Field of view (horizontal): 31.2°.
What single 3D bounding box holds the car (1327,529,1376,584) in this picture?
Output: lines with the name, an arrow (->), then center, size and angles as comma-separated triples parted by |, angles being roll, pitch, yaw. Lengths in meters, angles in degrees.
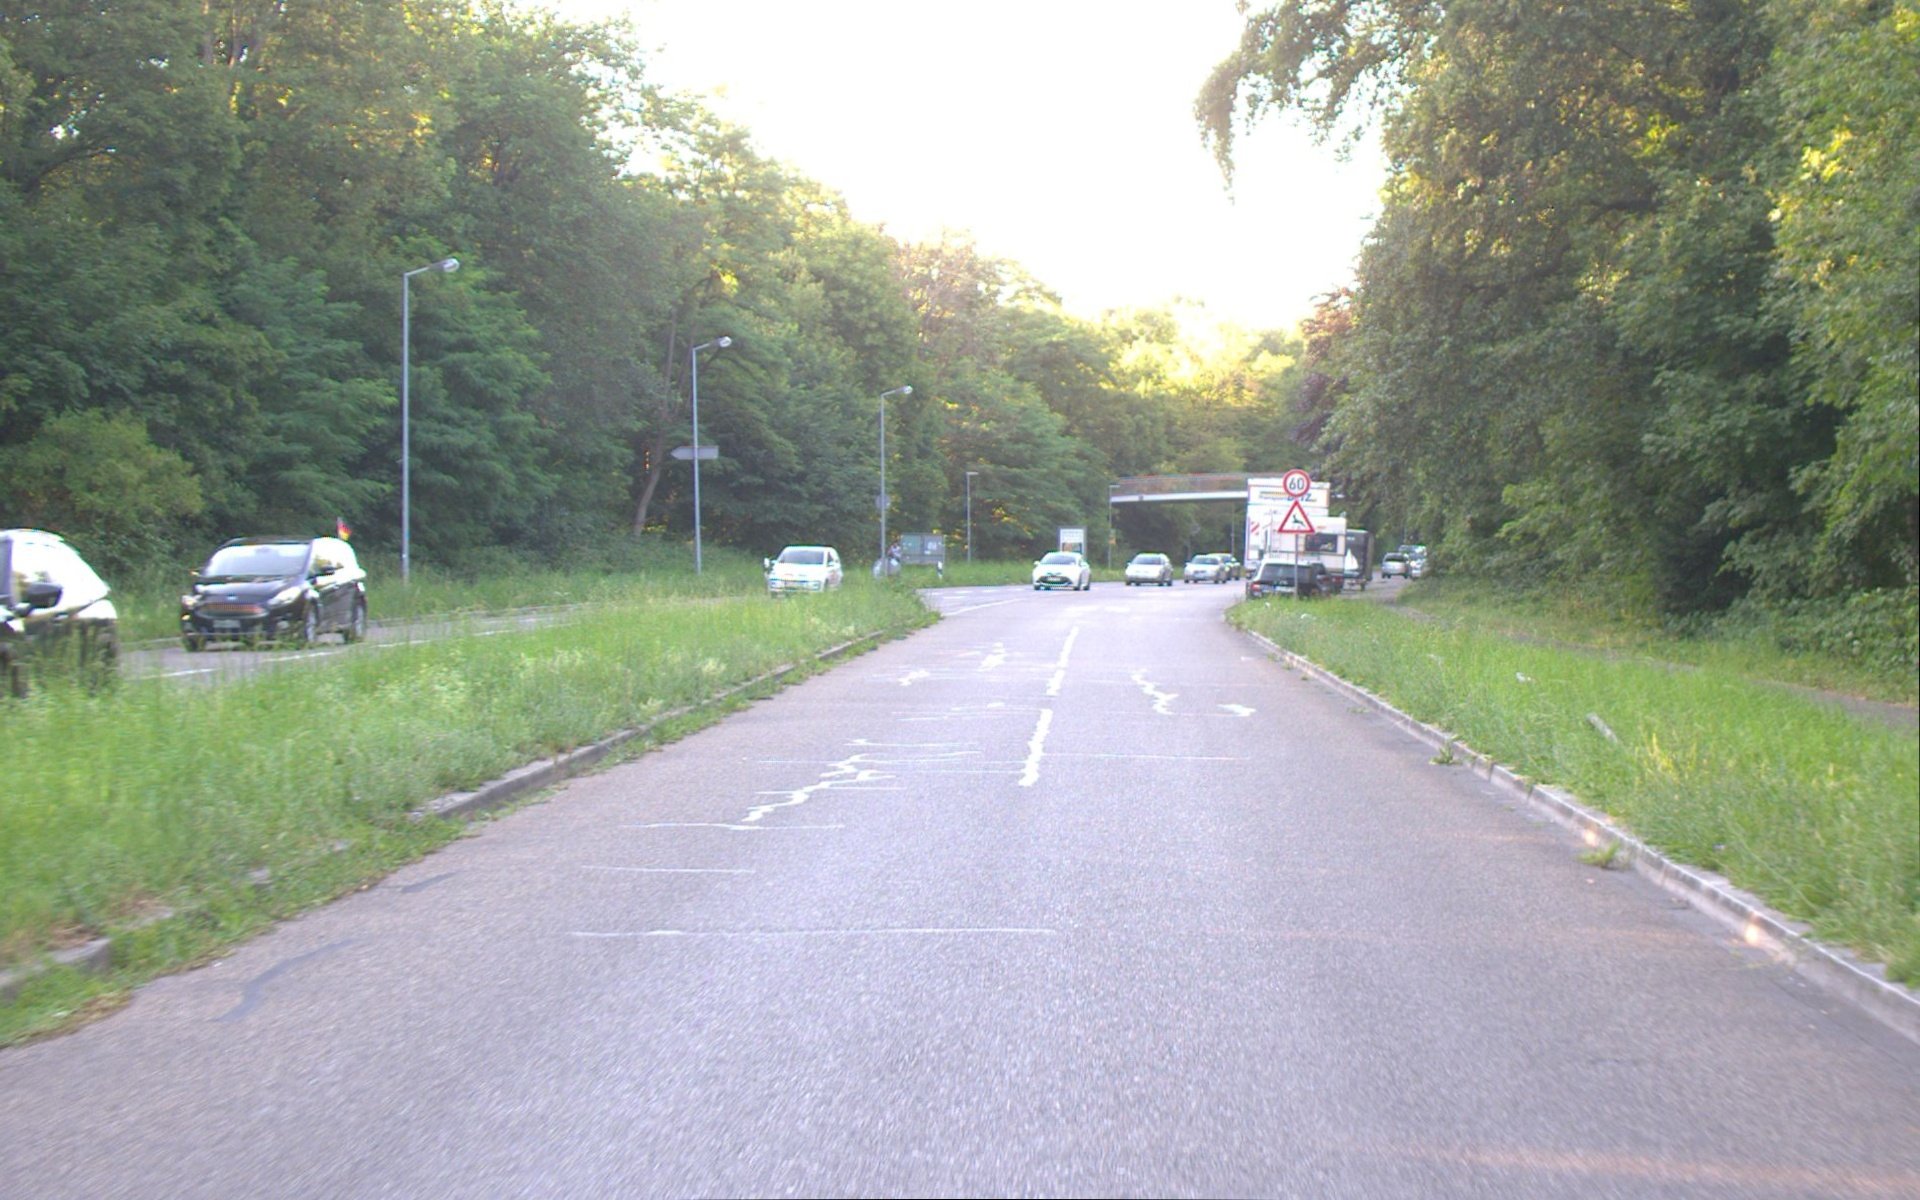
car -> 18.464, -2.015, 161.813 | 1.994, 2.401, 5.821 | 0, -1, 9

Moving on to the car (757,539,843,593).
car -> -4.524, -0.952, 97.590 | 1.994, 1.453, 3.810 | 0, -1, 4

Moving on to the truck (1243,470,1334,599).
truck -> 10.830, -2.127, 112.642 | 2.658, 4.014, 9.720 | 1, 1, 7

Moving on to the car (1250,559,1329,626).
car -> 7.478, -0.186, 78.122 | 1.664, 1.400, 3.941 | 3, 1, 5

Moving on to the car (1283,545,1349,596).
car -> 10.120, -0.852, 97.885 | 1.698, 1.401, 4.075 | 0, 1, 3

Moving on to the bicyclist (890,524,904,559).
bicyclist -> -2.696, -2.506, 146.951 | 0.620, 1.506, 0.847 | 0, 2, -1

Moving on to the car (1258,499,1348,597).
car -> 10.380, -1.555, 104.321 | 2.408, 2.848, 5.932 | 1, 1, 3

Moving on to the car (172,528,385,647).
car -> -9.912, -0.205, 50.338 | 1.994, 1.622, 4.651 | -1, 1, 2

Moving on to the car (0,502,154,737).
car -> -7.484, 0.130, 25.421 | 1.814, 1.622, 4.451 | -1, 1, 2

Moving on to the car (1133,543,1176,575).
car -> 8.922, -1.879, 157.770 | 1.716, 1.441, 4.172 | 0, 1, 7

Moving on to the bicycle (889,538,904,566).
bicycle -> -2.699, -2.057, 147.002 | 0.630, 1.213, 2.262 | 0, 1, -1

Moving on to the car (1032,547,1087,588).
car -> 3.839, -1.238, 132.159 | 1.836, 1.502, 3.937 | 0, -1, 6

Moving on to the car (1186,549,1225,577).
car -> 12.367, -1.872, 172.892 | 1.720, 1.392, 4.374 | 1, 1, 7

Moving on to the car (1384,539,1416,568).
car -> 28.554, -3.032, 223.069 | 1.994, 1.831, 3.999 | 0, 1, 8

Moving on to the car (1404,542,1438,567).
car -> 27.746, -2.746, 206.857 | 1.892, 1.442, 4.108 | 0, 1, 9
